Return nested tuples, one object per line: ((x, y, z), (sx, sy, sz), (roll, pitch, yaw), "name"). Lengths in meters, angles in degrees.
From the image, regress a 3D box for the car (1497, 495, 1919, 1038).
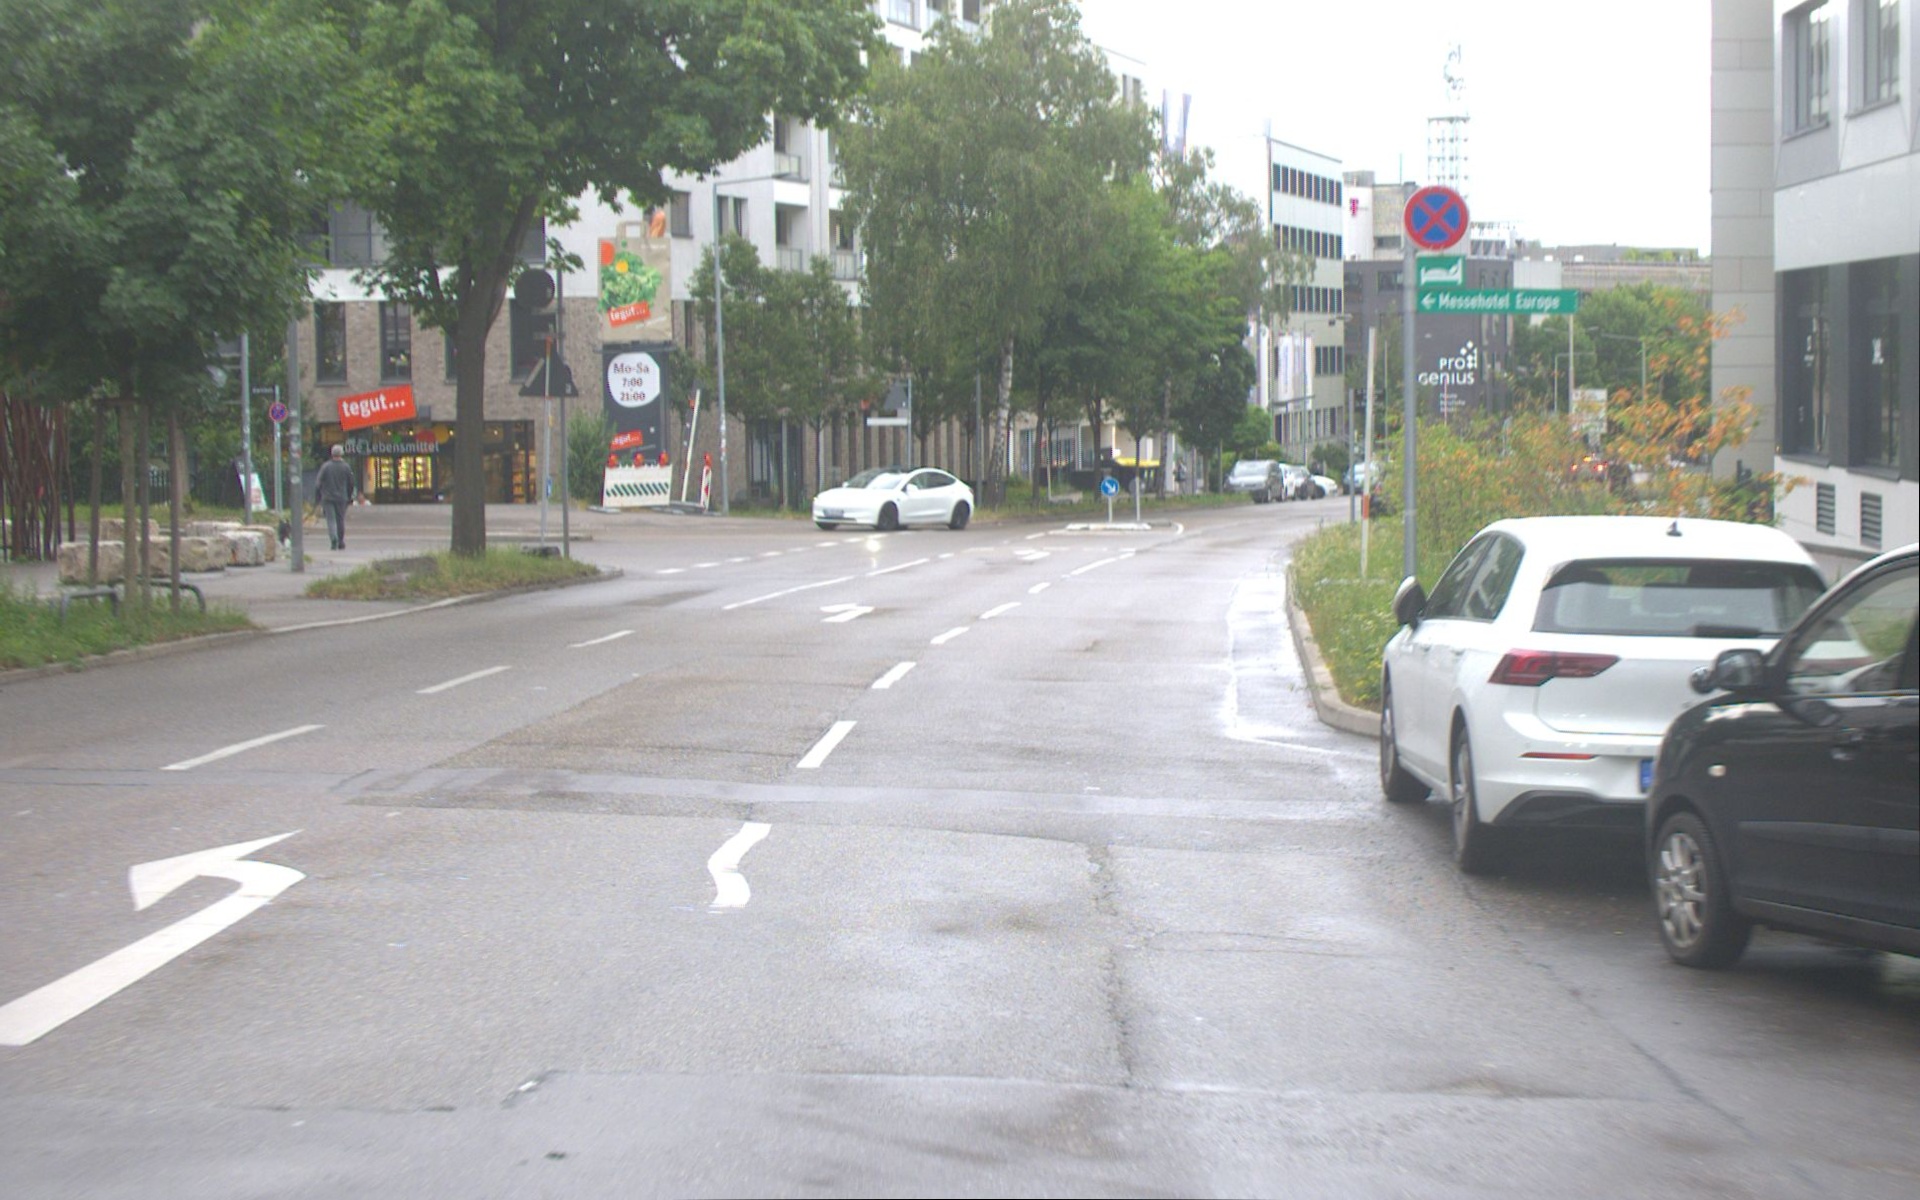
((3.388, 0.433, 10.959), (2.043, 1.453, 4.057), (1, 2, -11), "car")

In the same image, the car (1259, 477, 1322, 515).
((13.717, -4.316, 142.486), (1.798, 1.511, 4.242), (2, 2, 16), "car")

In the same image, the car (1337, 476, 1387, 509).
((18.883, -5.050, 161.371), (1.915, 1.476, 4.354), (1, 2, 12), "car")

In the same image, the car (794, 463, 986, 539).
((-1.563, -2.274, 78.772), (2.061, 1.655, 4.812), (2, 2, 33), "car")

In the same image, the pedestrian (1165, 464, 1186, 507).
((8.479, -4.502, 135.353), (0.709, 1.677, 0.956), (1, 2, 10), "pedestrian")

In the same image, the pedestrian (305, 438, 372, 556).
((-10.827, -1.798, 59.948), (1.055, 2.007, 1.100), (1, 1, -7), "pedestrian")

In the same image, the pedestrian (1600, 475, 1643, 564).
((13.264, -1.614, 68.943), (0.823, 1.789, 0.778), (0, 1, 9), "pedestrian")

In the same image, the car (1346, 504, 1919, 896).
((3.019, 0.332, 15.708), (2.039, 1.459, 4.503), (1, 2, 1), "car")

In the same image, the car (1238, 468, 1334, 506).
((14.148, -4.919, 149.034), (3.985, 1.571, 1.999), (1, 3, 11), "car")
